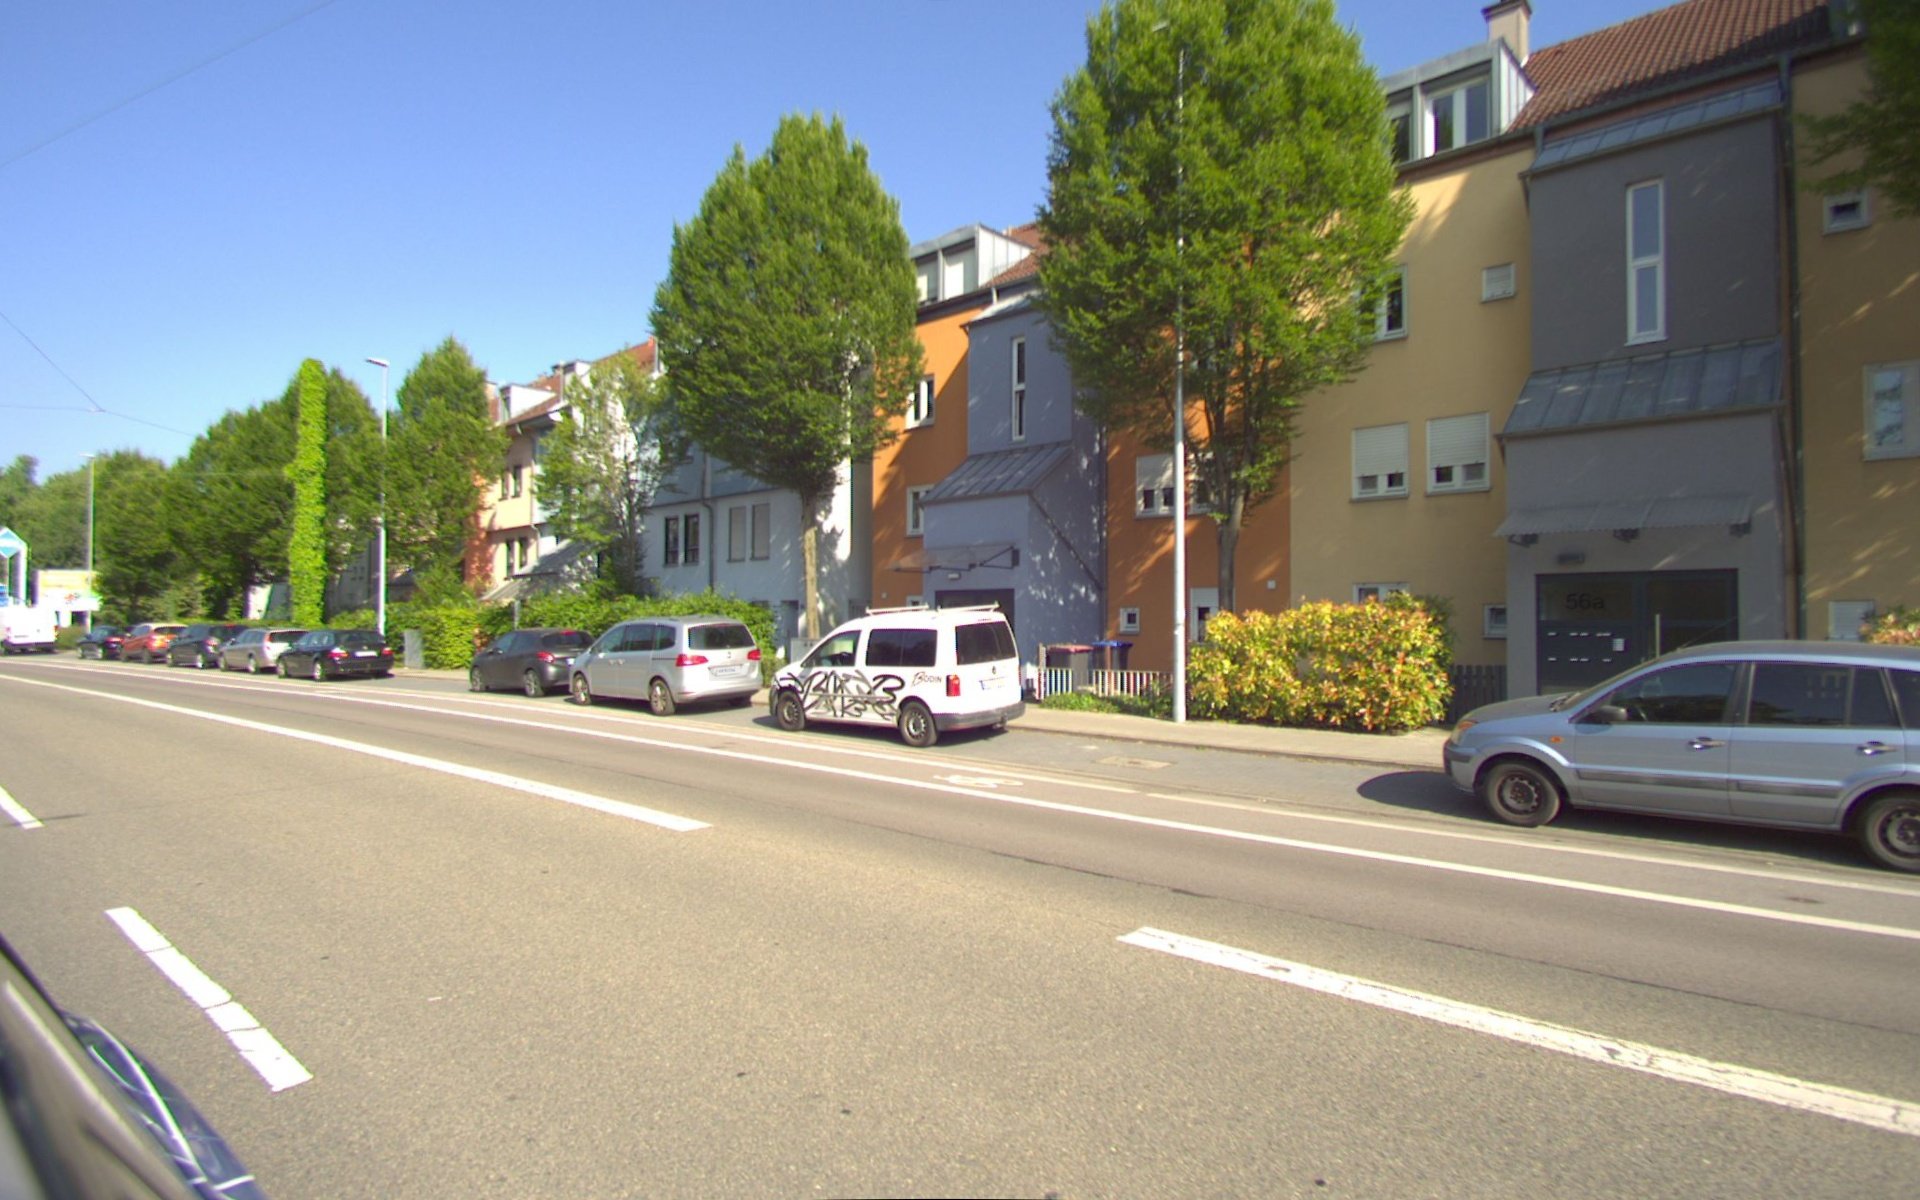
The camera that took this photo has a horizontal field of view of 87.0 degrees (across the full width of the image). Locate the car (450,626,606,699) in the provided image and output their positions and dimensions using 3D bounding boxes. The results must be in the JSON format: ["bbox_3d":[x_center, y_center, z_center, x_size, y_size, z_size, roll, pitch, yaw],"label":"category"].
[{"bbox_3d":[-9.849,1.349,22.933,4.055,1.477,1.599,-1,0,40],"label":"car"}]

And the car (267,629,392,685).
[{"bbox_3d":[-18.709,1.621,29.947,4.905,1.483,1.692,-1,0,40],"label":"car"}]

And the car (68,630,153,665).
[{"bbox_3d":[-36.585,1.999,43.562,4.702,1.435,1.638,-1,-2,35],"label":"car"}]

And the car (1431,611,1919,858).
[{"bbox_3d":[6.224,0.937,8.228,3.981,1.550,1.744,-1,3,43],"label":"car"}]

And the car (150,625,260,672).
[{"bbox_3d":[-27.567,1.725,36.918,4.423,1.586,1.749,-1,-1,32],"label":"car"}]

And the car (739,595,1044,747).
[{"bbox_3d":[-1.148,0.956,15.163,4.577,1.859,1.745,-1,2,41],"label":"car"}]

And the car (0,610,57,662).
[{"bbox_3d":[-48.899,1.822,52.013,6.164,2.476,2.135,-1,0,33],"label":"car"}]

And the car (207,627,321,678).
[{"bbox_3d":[-23.252,1.704,33.740,4.836,1.482,1.697,0,0,37],"label":"car"}]

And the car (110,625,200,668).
[{"bbox_3d":[-32.238,1.826,40.485,4.153,1.586,1.747,-1,-1,36],"label":"car"}]

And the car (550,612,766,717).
[{"bbox_3d":[-5.834,1.133,19.174,4.823,1.713,1.650,-1,0,42],"label":"car"}]
